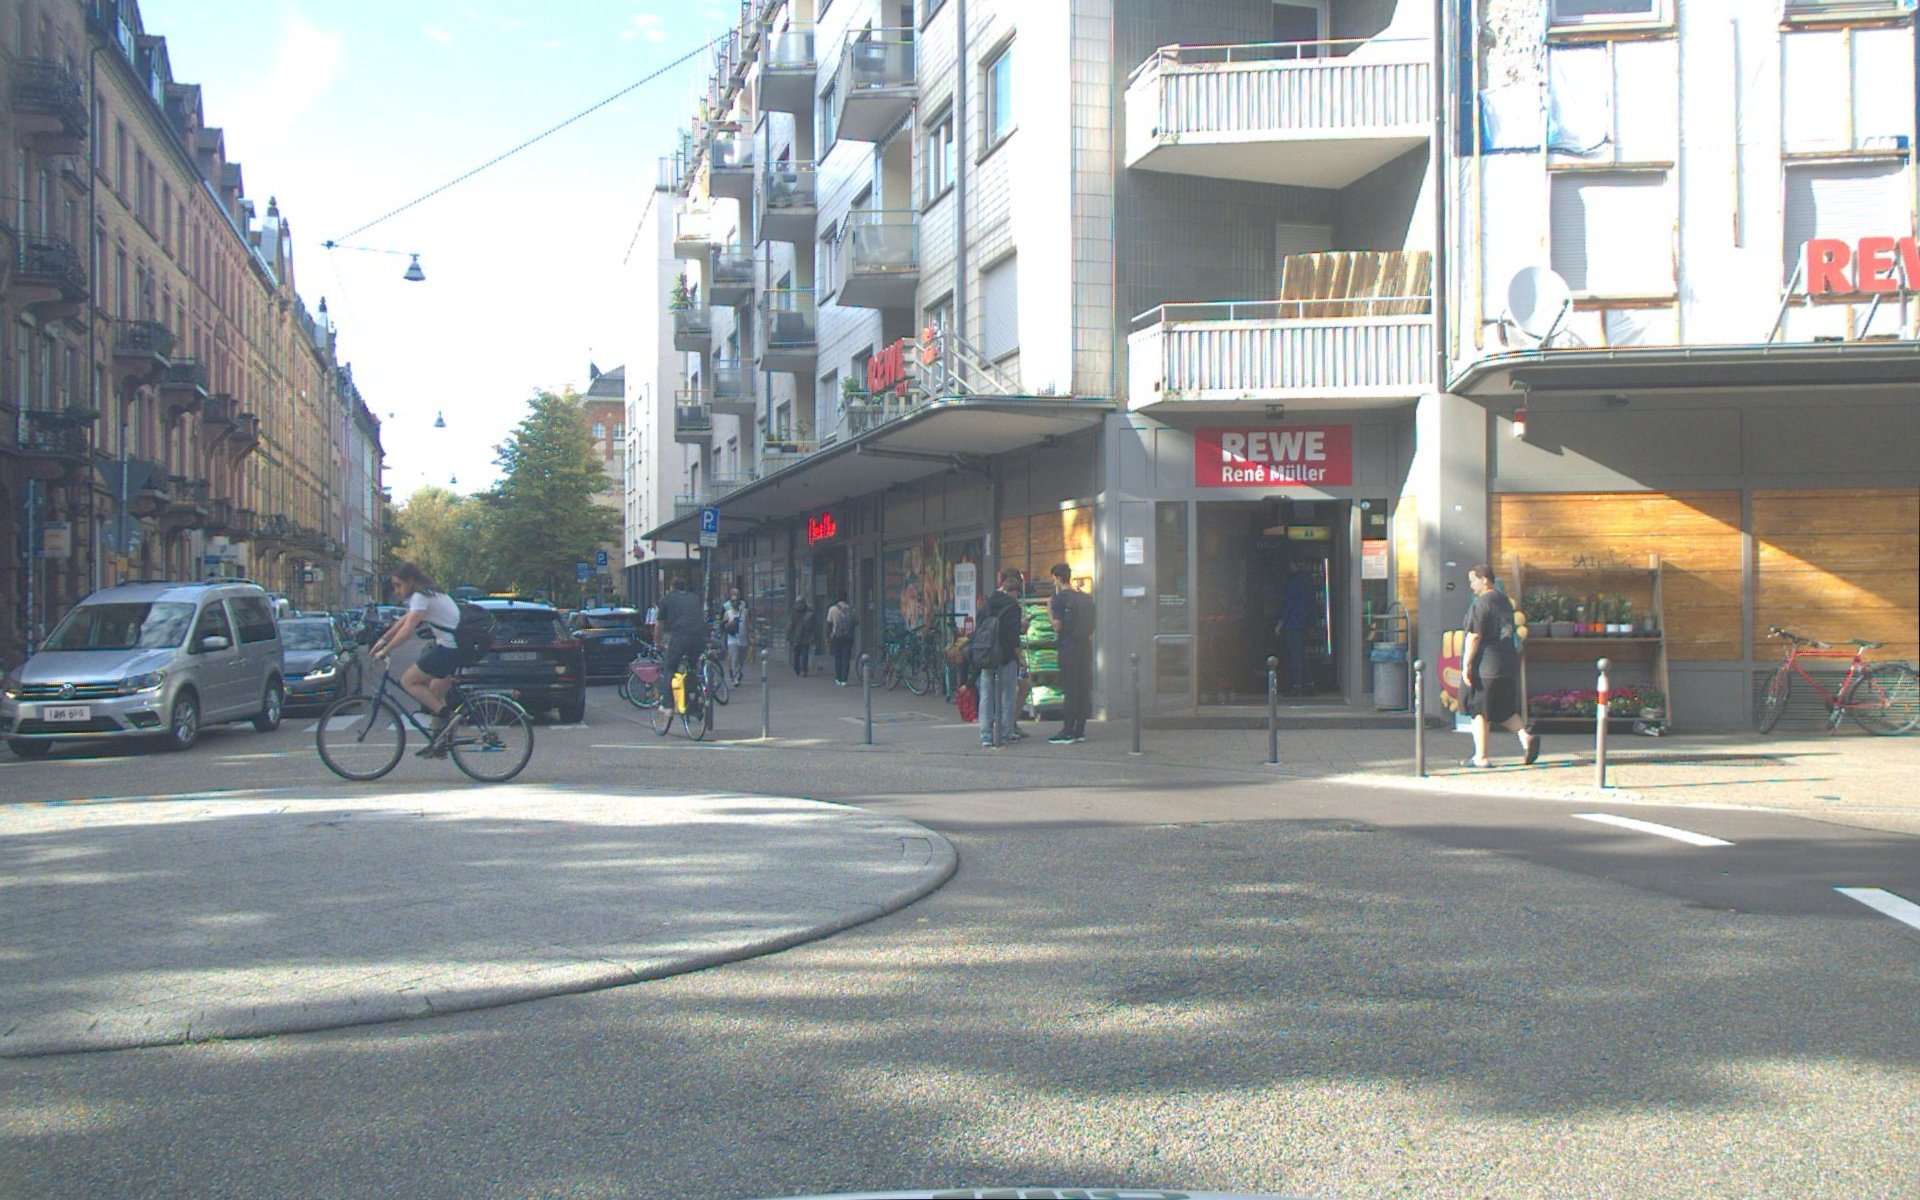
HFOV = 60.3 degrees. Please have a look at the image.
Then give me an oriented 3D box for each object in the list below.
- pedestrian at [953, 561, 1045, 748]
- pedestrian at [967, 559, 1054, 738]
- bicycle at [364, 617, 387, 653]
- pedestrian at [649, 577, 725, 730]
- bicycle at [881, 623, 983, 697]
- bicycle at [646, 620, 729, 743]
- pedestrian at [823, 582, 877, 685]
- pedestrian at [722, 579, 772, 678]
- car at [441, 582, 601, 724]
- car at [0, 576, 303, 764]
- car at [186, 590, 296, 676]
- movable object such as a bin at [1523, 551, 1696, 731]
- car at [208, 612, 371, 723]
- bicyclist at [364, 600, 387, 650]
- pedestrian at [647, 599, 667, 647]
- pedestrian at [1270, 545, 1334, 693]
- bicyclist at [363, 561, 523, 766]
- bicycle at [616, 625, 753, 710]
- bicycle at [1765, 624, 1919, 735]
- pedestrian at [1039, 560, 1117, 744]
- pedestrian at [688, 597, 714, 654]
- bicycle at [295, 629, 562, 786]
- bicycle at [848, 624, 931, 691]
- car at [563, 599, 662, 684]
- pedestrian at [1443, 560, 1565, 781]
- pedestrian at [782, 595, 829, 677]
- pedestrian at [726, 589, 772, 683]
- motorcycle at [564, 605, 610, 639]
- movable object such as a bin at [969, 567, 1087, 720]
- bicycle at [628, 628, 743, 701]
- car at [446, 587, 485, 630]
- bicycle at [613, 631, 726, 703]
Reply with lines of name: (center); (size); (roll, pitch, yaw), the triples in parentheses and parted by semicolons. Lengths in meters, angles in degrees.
pedestrian: (0.400, 0.540, 16.779); (0.618, 1.828, 0.714); (-2, 2, 24)
pedestrian: (0.536, 0.507, 17.492); (0.697, 1.828, 0.633); (-2, 2, 16)
bicycle: (-20.603, 1.228, 58.296); (0.690, 1.241, 2.106); (1, -1, -18)
pedestrian: (-3.163, 0.599, 19.091); (0.706, 1.678, 0.926); (-3, 1, -16)
bicycle: (-0.436, 0.893, 24.964); (0.670, 1.061, 1.712); (0, -1, -36)
bicycle: (-3.175, 0.904, 19.171); (0.706, 1.296, 1.876); (-3, 1, -15)
pedestrian: (-1.959, 0.581, 29.255); (0.703, 1.777, 0.813); (-3, 1, -19)
pedestrian: (-4.209, 0.552, 32.616); (0.868, 1.866, 1.045); (-2, 0, -9)
car: (-6.101, 0.706, 22.932); (1.933, 1.771, 4.023); (1, -1, -16)
car: (-9.046, 0.695, 18.650); (1.793, 1.822, 4.326); (-2, 0, -5)
car: (-16.979, 0.741, 39.221); (1.889, 1.904, 4.415); (0, 0, -17)
movable object such as a bin: (6.610, 0.405, 16.900); (1.511, 1.785, 0.691); (0, 2, 6)
car: (-9.949, 0.965, 24.808); (1.762, 1.463, 3.983); (-2, -1, -15)
bicyclist: (-20.618, 0.879, 58.358); (0.690, 1.707, 1.106); (1, -1, -19)
pedestrian: (-11.303, 0.853, 61.702); (0.602, 1.756, 1.122); (-1, 0, -15)
pedestrian: (4.240, 0.228, 20.545); (0.747, 1.784, 0.931); (0, 0, 10)
bicyclist: (-4.170, 0.518, 13.407); (1.103, 1.615, 0.691); (1, -3, -8)
bicycle: (-4.213, 1.014, 25.284); (1.859, 1.145, 0.900); (-3, 1, -25)
bicycle: (8.899, 0.777, 16.484); (1.498, 1.051, 0.583); (0, 1, 18)
pedestrian: (1.213, 0.517, 17.085); (0.640, 1.828, 0.658); (-3, 2, -4)
pedestrian: (-7.500, 0.730, 47.873); (0.633, 1.616, 0.777); (-2, 0, -15)
bicycle: (-4.261, 0.862, 13.386); (1.934, 1.221, 0.691); (1, -3, -9)
bicycle: (-1.195, 0.931, 27.511); (0.732, 1.033, 1.769); (-3, 0, -25)
car: (-7.516, 0.836, 35.549); (1.763, 1.633, 3.907); (-3, 1, -16)
pedestrian: (4.584, 0.568, 14.002); (0.831, 1.777, 1.050); (-2, 1, 14)
pedestrian: (-3.125, 0.716, 33.445); (0.810, 1.616, 0.777); (-1, -1, -15)
pedestrian: (-3.909, 0.662, 30.547); (0.787, 1.700, 1.020); (0, -1, -10)
motorcycle: (-18.282, 1.070, 81.039); (2.113, 1.557, 0.684); (-2, 1, -13)
movable object such as a bin: (0.803, 0.510, 20.471); (0.766, 1.775, 2.413); (0, 0, -15)
bicycle: (-4.549, 1.052, 27.404); (1.767, 1.089, 0.564); (-3, 1, -27)
car: (-24.395, 0.427, 81.567); (1.754, 2.055, 3.869); (1, 0, -17)
bicycle: (-4.907, 1.119, 27.989); (1.767, 1.089, 0.581); (-3, 1, -27)
